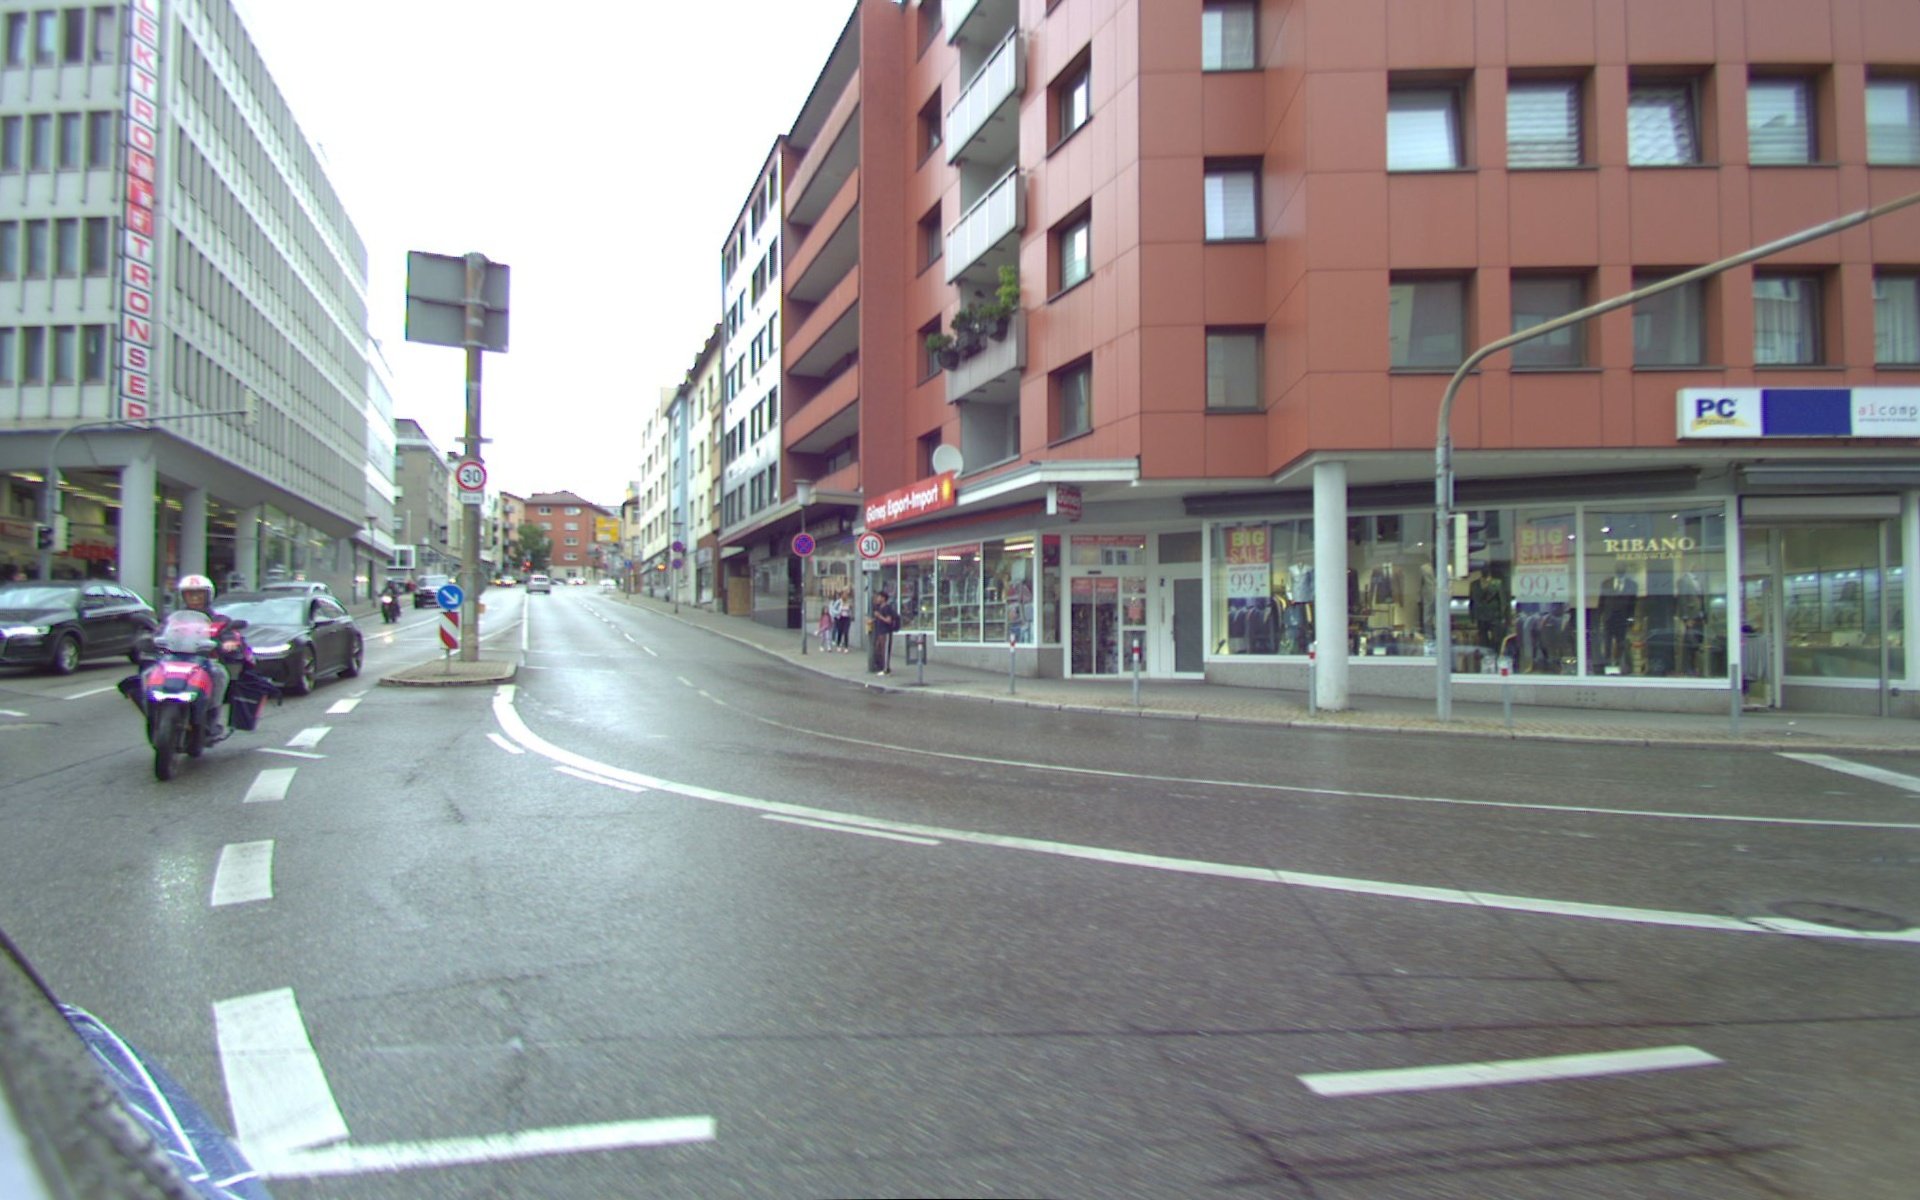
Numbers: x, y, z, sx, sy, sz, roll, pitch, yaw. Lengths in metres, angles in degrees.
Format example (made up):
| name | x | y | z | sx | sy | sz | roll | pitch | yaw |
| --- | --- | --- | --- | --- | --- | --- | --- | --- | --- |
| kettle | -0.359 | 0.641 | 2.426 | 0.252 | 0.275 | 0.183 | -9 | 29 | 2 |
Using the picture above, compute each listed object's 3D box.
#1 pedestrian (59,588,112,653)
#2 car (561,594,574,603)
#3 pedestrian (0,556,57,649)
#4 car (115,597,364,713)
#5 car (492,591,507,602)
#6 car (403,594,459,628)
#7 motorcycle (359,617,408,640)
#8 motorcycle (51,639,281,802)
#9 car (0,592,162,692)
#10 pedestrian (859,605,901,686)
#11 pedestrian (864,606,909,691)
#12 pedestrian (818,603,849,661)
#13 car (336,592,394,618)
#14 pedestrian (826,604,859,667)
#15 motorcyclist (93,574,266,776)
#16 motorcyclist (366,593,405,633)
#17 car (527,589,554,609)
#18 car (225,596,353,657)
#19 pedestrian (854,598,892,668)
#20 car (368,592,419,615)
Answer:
| name | x | y | z | sx | sy | sz | roll | pitch | yaw |
| --- | --- | --- | --- | --- | --- | --- | --- | --- | --- |
| pedestrian | -22.108 | 0.517 | 25.588 | 0.719 | 1.635 | 0.710 | 0 | -2 | 21 |
| car | -64.469 | -0.176 | 166.236 | 1.798 | 1.447 | 3.867 | 0 | 0 | -16 |
| pedestrian | -21.134 | 0.060 | 22.660 | 0.939 | 2.029 | 0.989 | 0 | -2 | 18 |
| car | -10.815 | 0.764 | 15.639 | 1.965 | 1.502 | 4.750 | 1 | -1 | -21 |
| car | -61.371 | -0.435 | 134.802 | 1.603 | 1.383 | 3.459 | 0 | 0 | -20 |
| car | -27.813 | 0.568 | 53.316 | 1.966 | 1.696 | 4.012 | 1 | -1 | -18 |
| motorcycle | -21.405 | 1.053 | 37.637 | 0.701 | 0.848 | 2.399 | 1 | -1 | -7 |
| motorcycle | -6.755 | 0.949 | 8.799 | 1.291 | 1.144 | 2.191 | 2 | -1 | -31 |
| car | -15.880 | 0.653 | 17.539 | 1.841 | 1.559 | 4.116 | 0 | 0 | -17 |
| pedestrian | -1.784 | 0.991 | 22.497 | 0.720 | 1.761 | 0.702 | 0 | 0 | -26 |
| pedestrian | -1.570 | 1.017 | 21.647 | 0.720 | 1.761 | 0.745 | 0 | 0 | -26 |
| pedestrian | -3.660 | 0.921 | 29.223 | 0.682 | 1.642 | 0.736 | 0 | 0 | -24 |
| car | -47.743 | 0.417 | 81.275 | 3.931 | 1.971 | 1.753 | 1 | -1 | -28 |
| pedestrian | -3.161 | 0.941 | 27.235 | 0.682 | 1.642 | 0.736 | 0 | 0 | -24 |
| motorcyclist | -6.722 | 0.605 | 8.794 | 1.075 | 1.617 | 0.956 | 1 | -1 | -32 |
| motorcyclist | -21.386 | 0.504 | 37.693 | 0.897 | 1.453 | 1.116 | 1 | -1 | -7 |
| car | -36.324 | -0.095 | 87.775 | 1.965 | 1.751 | 4.013 | 0 | 0 | -20 |
| car | -19.113 | 0.705 | 29.047 | 1.966 | 1.596 | 4.116 | 0 | 0 | -17 |
| pedestrian | -2.292 | 0.857 | 26.636 | 0.720 | 1.760 | 0.697 | -3 | 1 | -22 |
| car | -51.331 | 0.316 | 91.751 | 3.930 | 2.029 | 2.007 | 1 | -1 | -26 |
